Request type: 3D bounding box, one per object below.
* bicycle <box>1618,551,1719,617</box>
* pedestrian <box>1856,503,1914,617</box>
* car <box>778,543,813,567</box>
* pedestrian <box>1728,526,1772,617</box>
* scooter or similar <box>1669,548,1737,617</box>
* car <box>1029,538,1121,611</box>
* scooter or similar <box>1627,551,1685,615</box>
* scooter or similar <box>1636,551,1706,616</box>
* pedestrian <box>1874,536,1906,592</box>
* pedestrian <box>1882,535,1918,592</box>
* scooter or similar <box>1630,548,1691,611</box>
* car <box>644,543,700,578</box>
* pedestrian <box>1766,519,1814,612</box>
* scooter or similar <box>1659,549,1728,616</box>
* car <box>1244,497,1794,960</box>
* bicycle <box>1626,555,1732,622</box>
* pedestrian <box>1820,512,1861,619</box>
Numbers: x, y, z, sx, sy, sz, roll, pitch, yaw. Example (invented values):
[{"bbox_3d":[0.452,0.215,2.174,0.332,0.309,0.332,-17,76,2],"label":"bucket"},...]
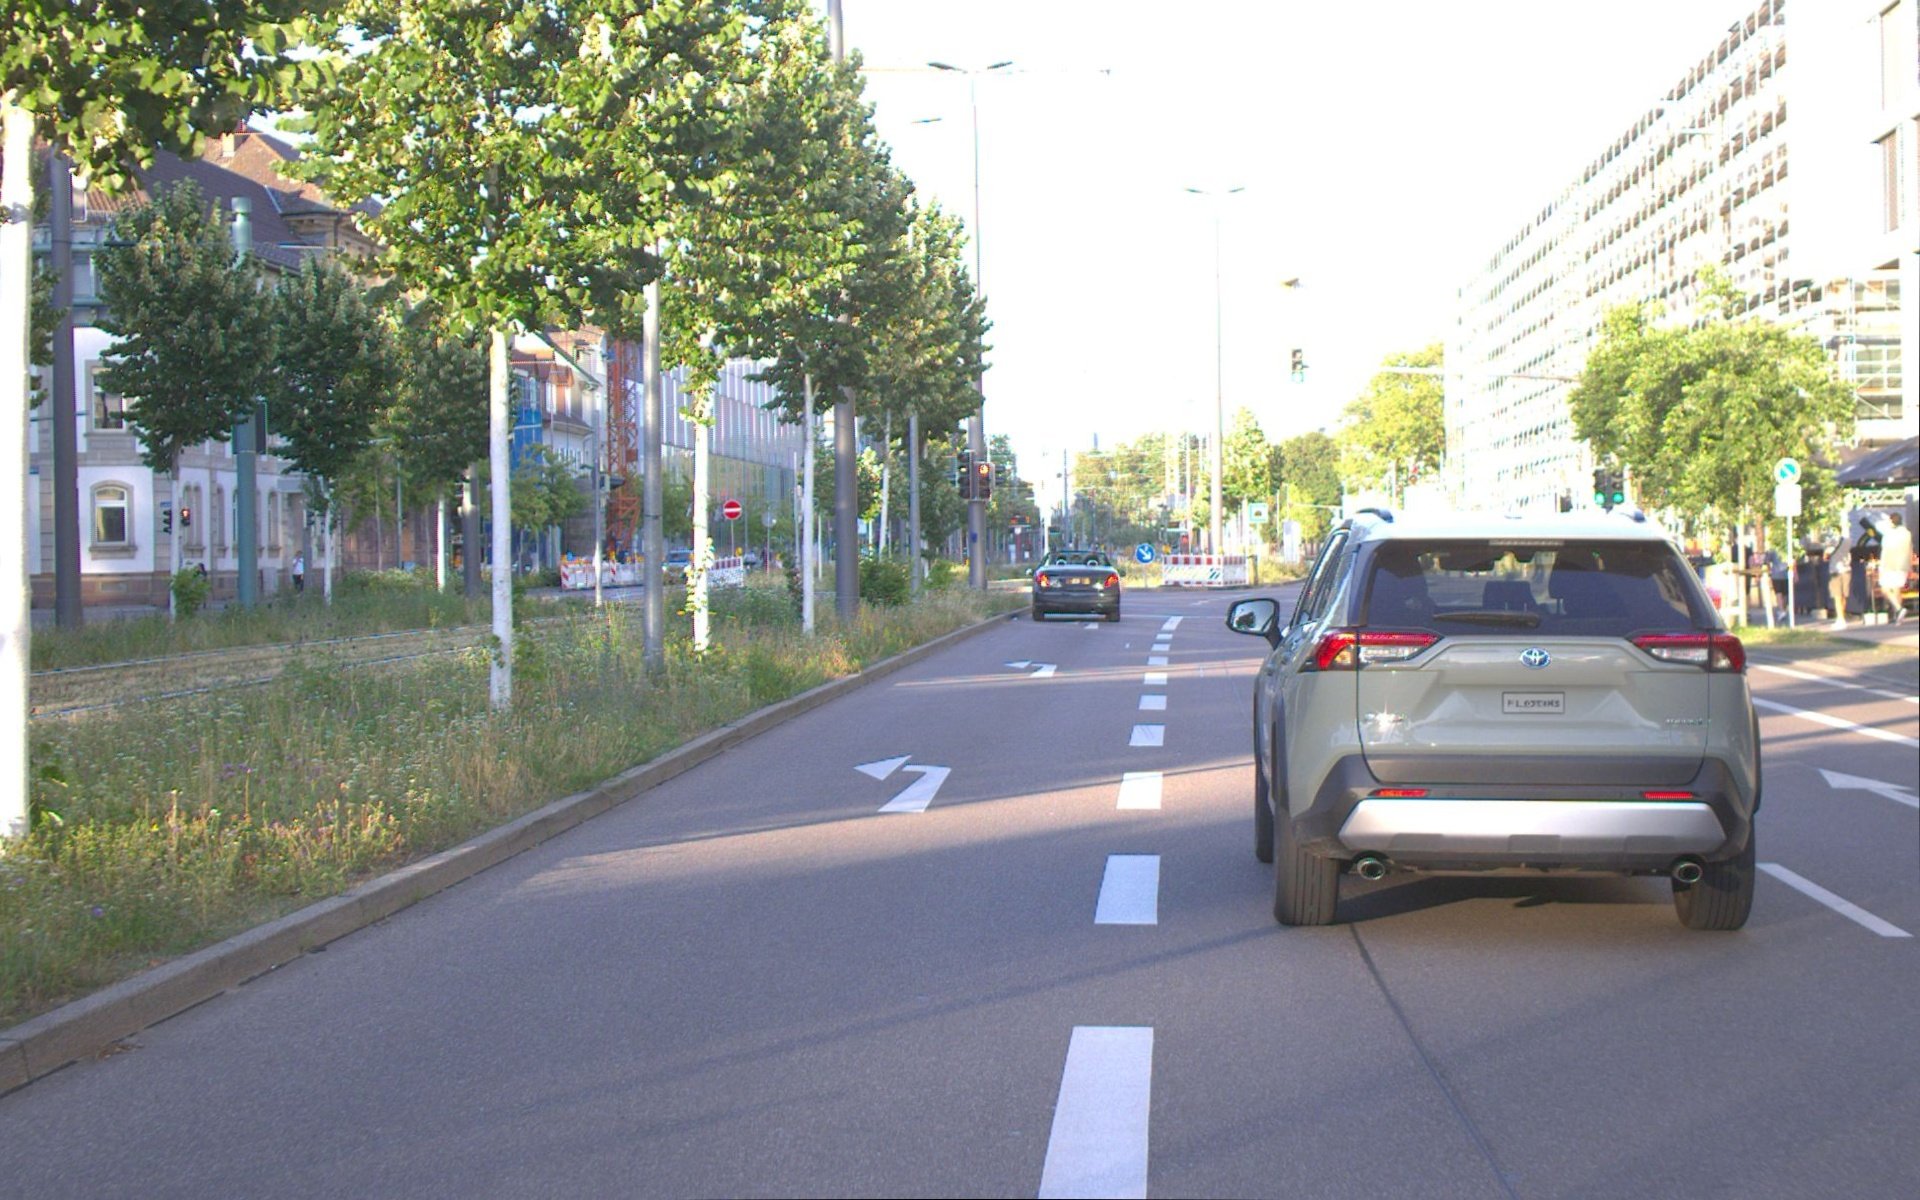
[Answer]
[{"bbox_3d":[13.808,-0.308,67.036,1.793,1.189,0.568,-3,1,-1],"label":"bicycle"},{"bbox_3d":[15.637,-0.666,58.110,0.825,1.882,0.866,-2,0,12],"label":"pedestrian"},{"bbox_3d":[-10.354,-2.827,217.175,1.658,1.426,3.894,2,1,5],"label":"car"},{"bbox_3d":[15.104,-0.550,65.726,0.653,1.696,0.689,-3,1,3],"label":"pedestrian"},{"bbox_3d":[13.672,-0.315,63.264,1.129,1.209,0.531,-3,-1,19],"label":"scooter or similar"},{"bbox_3d":[2.283,-0.523,67.325,1.674,1.347,4.000,1,1,3],"label":"car"},{"bbox_3d":[13.806,-0.340,68.162,1.062,1.219,0.549,-3,1,13],"label":"scooter or similar"},{"bbox_3d":[13.746,-0.320,66.489,1.209,1.197,0.480,-3,1,-1],"label":"scooter or similar"},{"bbox_3d":[22.515,-0.873,83.186,0.613,1.314,0.620,-3,1,22],"label":"pedestrian"},{"bbox_3d":[22.438,-0.867,82.069,0.746,1.314,0.714,-3,1,16],"label":"pedestrian"},{"bbox_3d":[14.129,-0.420,69.320,1.051,1.219,0.598,-3,1,0],"label":"scooter or similar"},{"bbox_3d":[-13.677,-1.884,163.531,1.994,1.575,4.123,-2,1,4],"label":"car"},{"bbox_3d":[15.796,-0.657,65.421,0.685,1.729,0.761,-3,1,3],"label":"pedestrian"},{"bbox_3d":[13.664,-0.328,64.046,1.156,1.187,0.509,-3,-1,6],"label":"scooter or similar"},{"bbox_3d":[2.206,0.416,14.652,1.834,1.667,4.282,0,1,3],"label":"car"},{"bbox_3d":[13.632,-0.215,65.225,1.847,1.178,0.608,-3,1,3],"label":"bicycle"},{"bbox_3d":[15.009,-0.588,58.624,0.576,1.780,0.828,-2,0,11],"label":"pedestrian"}]
